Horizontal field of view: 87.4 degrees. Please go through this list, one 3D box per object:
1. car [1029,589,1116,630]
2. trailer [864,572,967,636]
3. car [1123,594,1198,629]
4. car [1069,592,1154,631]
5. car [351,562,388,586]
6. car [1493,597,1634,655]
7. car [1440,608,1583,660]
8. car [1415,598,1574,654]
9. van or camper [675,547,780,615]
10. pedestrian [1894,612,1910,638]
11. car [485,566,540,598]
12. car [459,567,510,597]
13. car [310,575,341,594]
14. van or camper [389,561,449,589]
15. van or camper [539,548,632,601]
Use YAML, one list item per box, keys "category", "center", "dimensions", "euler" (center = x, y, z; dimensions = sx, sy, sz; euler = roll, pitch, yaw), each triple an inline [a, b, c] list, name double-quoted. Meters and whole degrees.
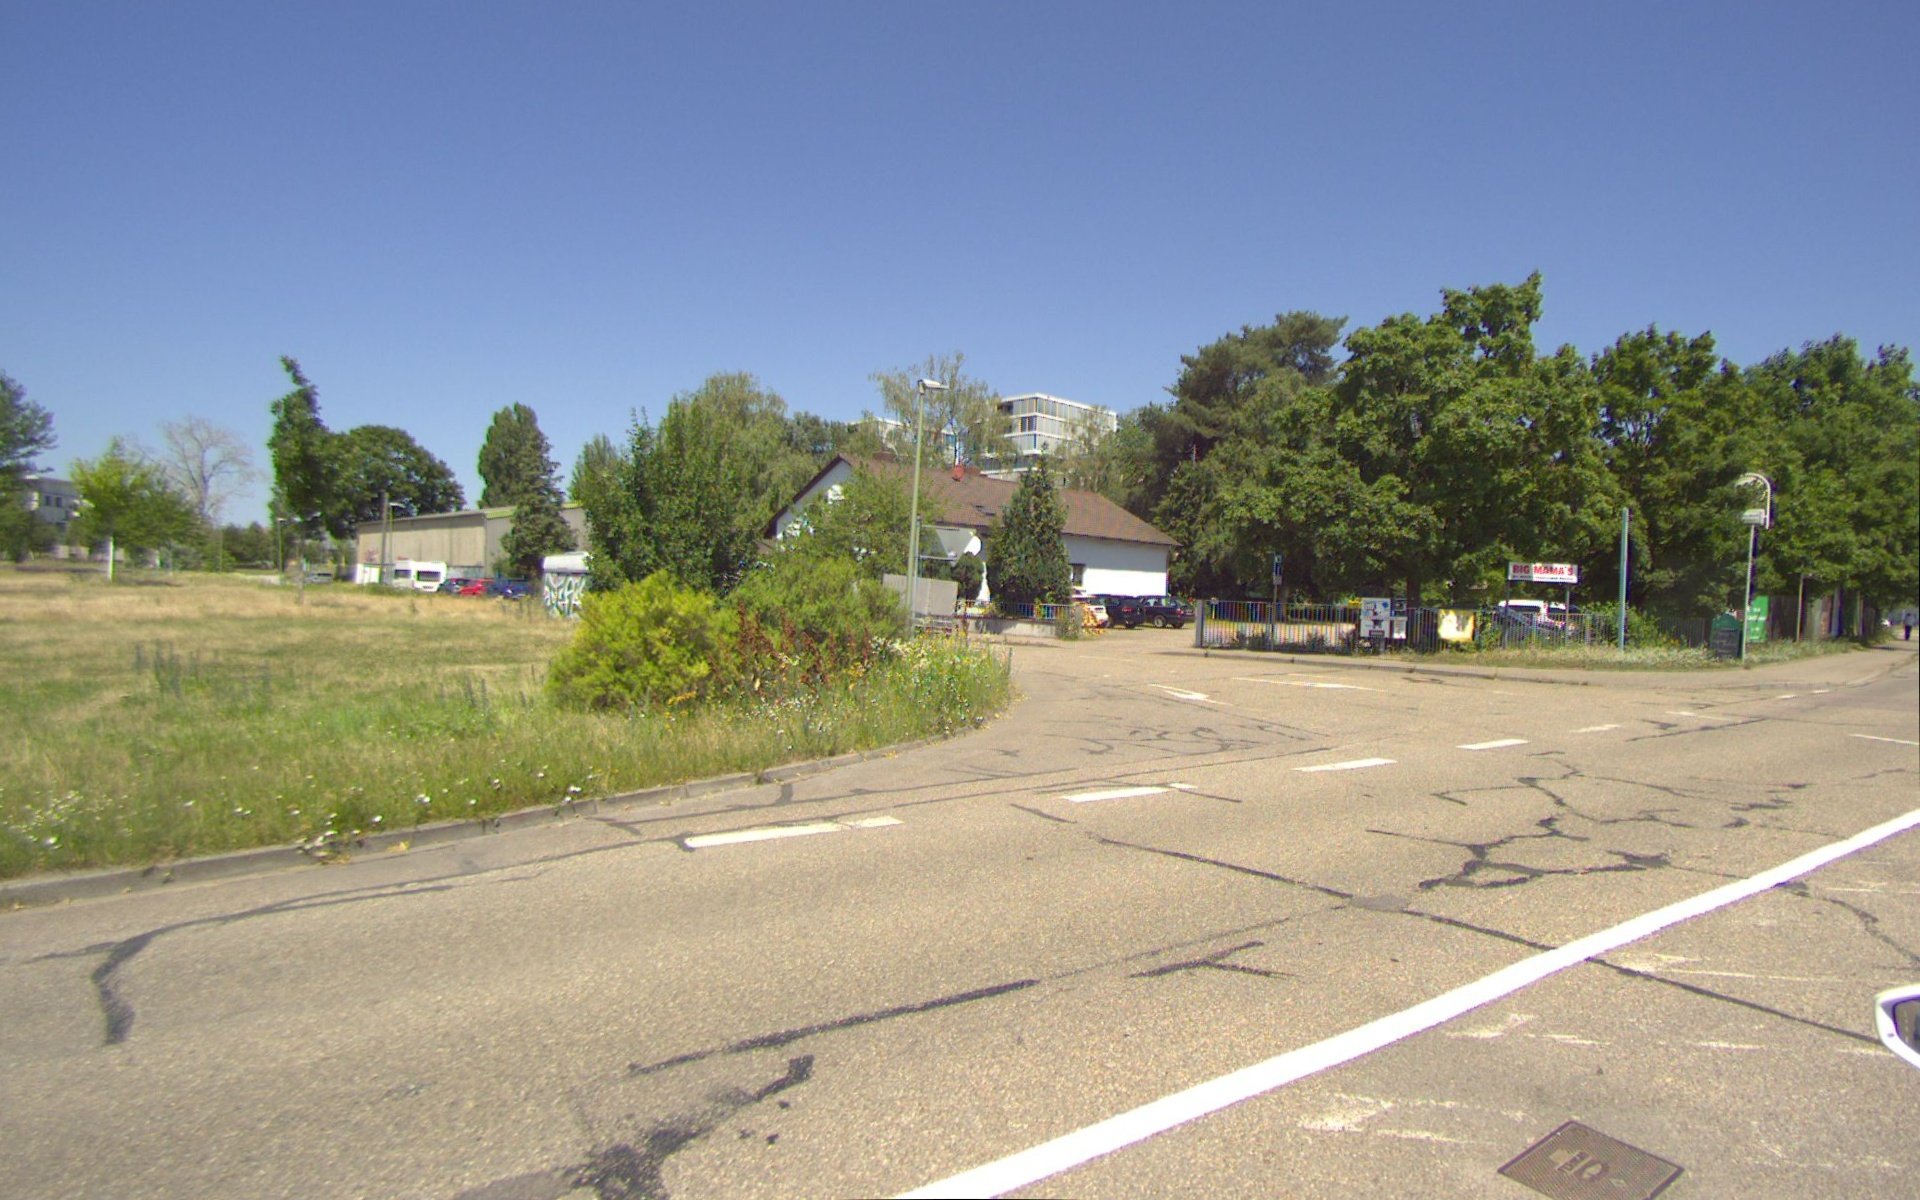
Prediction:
- category: "car"
  center: [4.703, 0.403, 42.403]
  dimensions: [1.759, 1.598, 3.304]
  euler: [1, 1, -42]
- category: "trailer"
  center: [-1.575, 0.119, 34.916]
  dimensions: [1.748, 2.073, 3.381]
  euler: [1, 1, -43]
- category: "car"
  center: [9.255, 0.529, 46.522]
  dimensions: [1.533, 1.466, 3.104]
  euler: [1, 1, -42]
- category: "car"
  center: [6.597, 0.487, 43.964]
  dimensions: [1.759, 1.586, 3.304]
  euler: [1, 1, -42]
- category: "car"
  center: [-48.148, -2.129, 81.860]
  dimensions: [3.530, 1.795, 1.747]
  euler: [2, 1, 44]
- category: "car"
  center: [23.173, 0.961, 38.689]
  dimensions: [1.769, 2.003, 4.268]
  euler: [1, 1, -41]
- category: "car"
  center: [18.503, 1.112, 33.801]
  dimensions: [1.796, 1.546, 3.827]
  euler: [1, 0, -41]
- category: "car"
  center: [19.703, 0.917, 37.227]
  dimensions: [1.981, 1.865, 4.788]
  euler: [1, 0, -36]
- category: "van or camper"
  center: [-9.980, -0.839, 42.936]
  dimensions: [2.475, 2.626, 4.409]
  euler: [1, 3, -43]
- category: "pedestrian"
  center: [64.075, 1.686, 68.321]
  dimensions: [0.714, 1.748, 0.814]
  euler: [2, 1, 41]
- category: "car"
  center: [-26.563, -1.063, 59.548]
  dimensions: [3.530, 1.795, 1.747]
  euler: [2, 1, 44]
- category: "car"
  center: [-30.181, -1.132, 63.729]
  dimensions: [3.530, 1.795, 1.747]
  euler: [2, 1, 44]
- category: "car"
  center: [-58.913, -1.443, 93.234]
  dimensions: [3.530, 1.618, 1.582]
  euler: [2, 1, 44]
- category: "van or camper"
  center: [-38.747, -1.797, 71.950]
  dimensions: [4.988, 1.905, 2.344]
  euler: [2, 1, 44]
- category: "van or camper"
  center: [-19.952, -1.373, 53.317]
  dimensions: [2.456, 2.628, 5.890]
  euler: [1, 1, -44]
